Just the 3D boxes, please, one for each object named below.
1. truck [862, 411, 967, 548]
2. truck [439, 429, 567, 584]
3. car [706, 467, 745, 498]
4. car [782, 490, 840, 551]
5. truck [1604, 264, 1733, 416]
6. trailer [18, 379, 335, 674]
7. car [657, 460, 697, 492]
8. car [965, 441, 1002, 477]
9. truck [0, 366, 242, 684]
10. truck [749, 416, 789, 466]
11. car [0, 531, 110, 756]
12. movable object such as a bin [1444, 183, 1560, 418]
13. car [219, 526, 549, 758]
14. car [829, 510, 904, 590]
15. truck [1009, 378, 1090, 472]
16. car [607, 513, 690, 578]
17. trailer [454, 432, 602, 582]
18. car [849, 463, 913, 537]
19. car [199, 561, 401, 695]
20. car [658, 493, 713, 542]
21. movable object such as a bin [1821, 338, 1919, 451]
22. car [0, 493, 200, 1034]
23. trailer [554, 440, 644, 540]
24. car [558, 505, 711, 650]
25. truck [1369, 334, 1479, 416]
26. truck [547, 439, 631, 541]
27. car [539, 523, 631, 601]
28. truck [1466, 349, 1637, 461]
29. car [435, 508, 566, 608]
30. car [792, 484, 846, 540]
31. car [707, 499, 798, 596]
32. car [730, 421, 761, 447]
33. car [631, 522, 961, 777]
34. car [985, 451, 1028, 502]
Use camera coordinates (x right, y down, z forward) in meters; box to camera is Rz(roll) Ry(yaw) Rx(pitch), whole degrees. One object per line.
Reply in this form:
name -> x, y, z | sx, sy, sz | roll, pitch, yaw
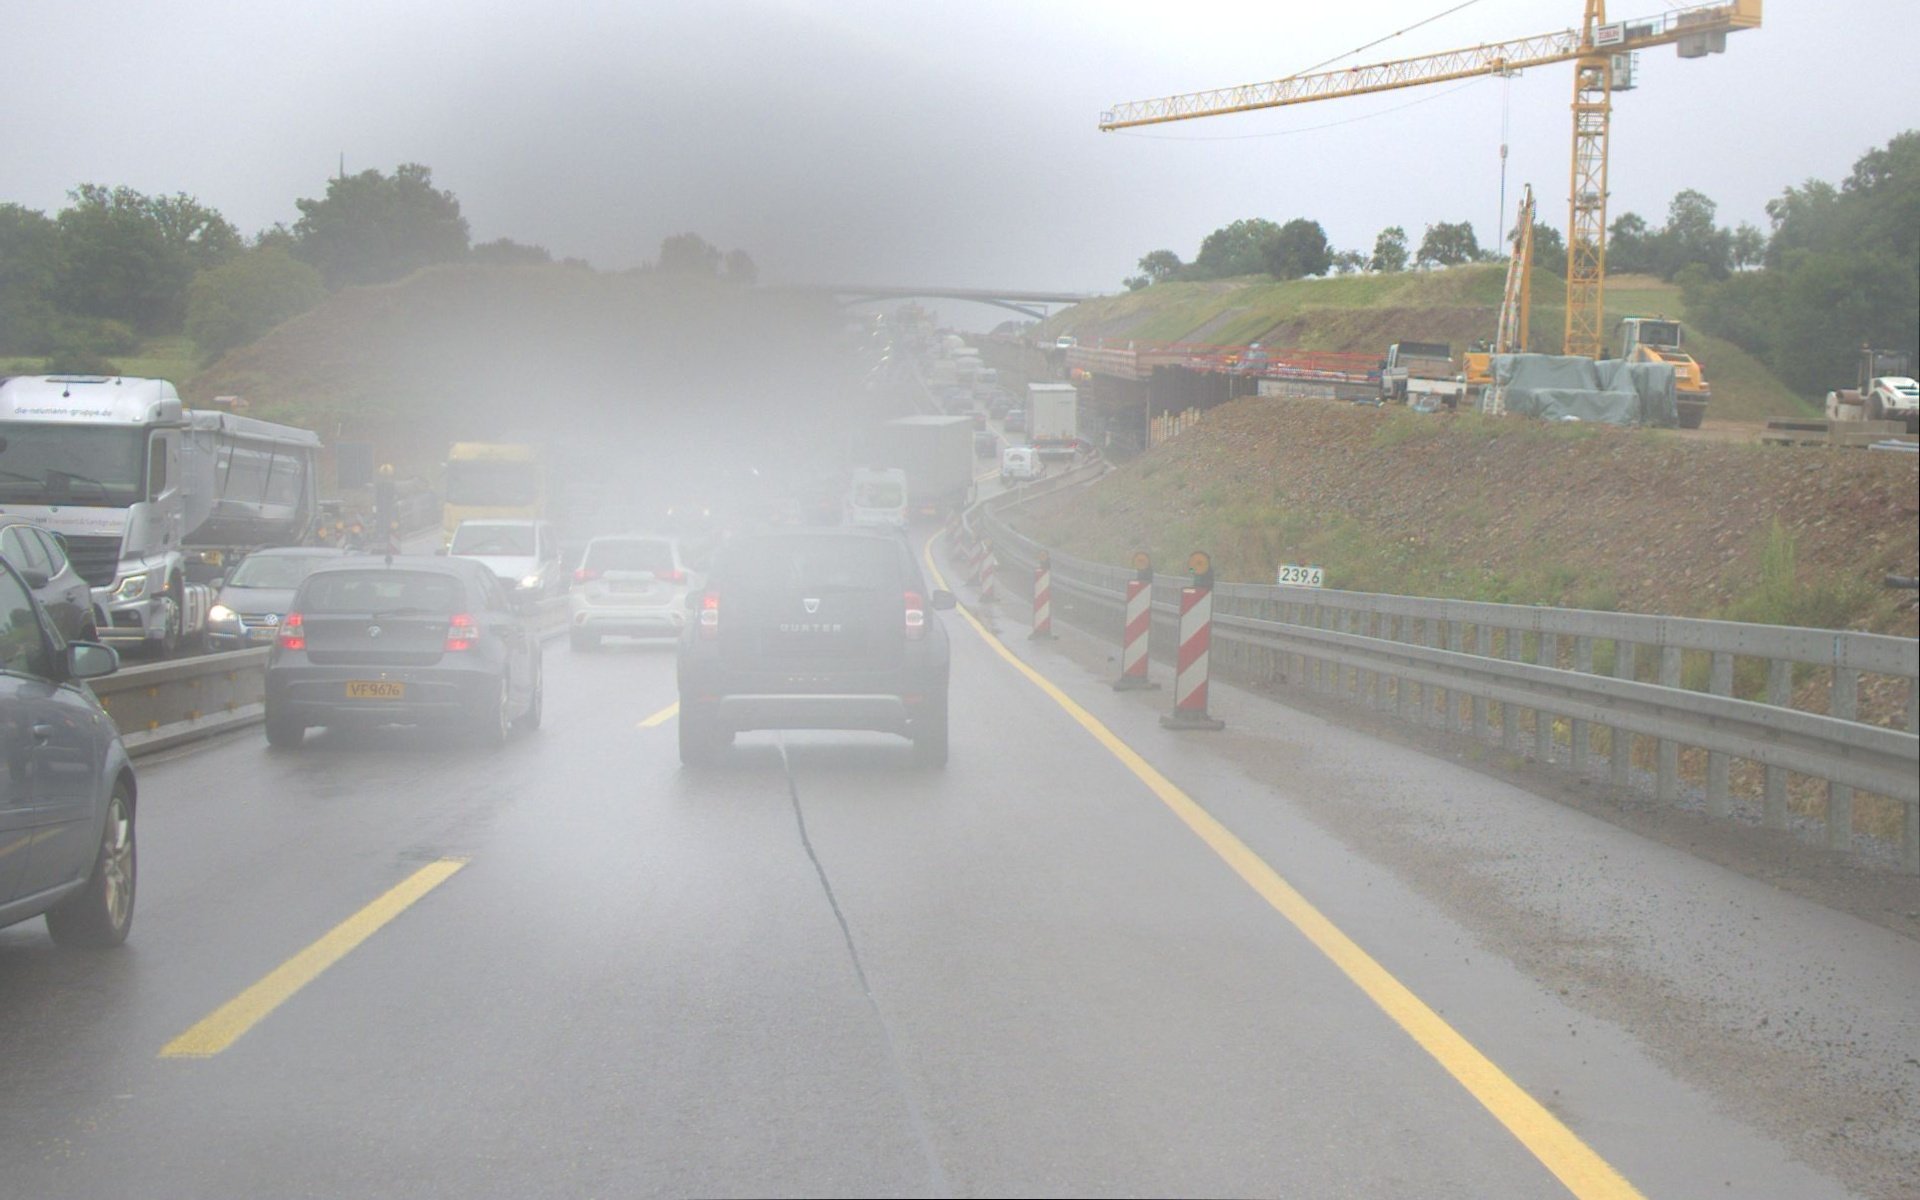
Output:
truck -> -1.809, -4.891, 141.835 | 3.102, 5.407, 9.441 | 1, 1, 6
truck -> -12.348, -2.518, 93.322 | 2.749, 4.048, 6.148 | 1, 1, -1
car -> -11.609, -5.802, 170.509 | 1.772, 1.499, 4.680 | 0, 2, -2
car -> -5.389, -2.883, 124.910 | 1.993, 2.155, 4.141 | 1, 1, -1
truck -> 21.250, -7.755, 103.369 | 2.373, 4.203, 5.980 | 1, 1, -2
trailer -> -11.446, -1.088, 51.223 | 2.685, 3.950, 9.820 | 0, 1, -2
car -> -14.179, -6.204, 172.200 | 1.787, 1.541, 4.001 | 1, 2, -2
car -> 1.335, -8.171, 198.982 | 1.993, 2.006, 4.001 | 0, 3, -2
truck -> -11.273, -0.972, 45.094 | 2.685, 3.913, 5.274 | 0, 1, -2
truck -> -10.586, -8.808, 190.876 | 2.078, 2.567, 5.963 | 1, 1, -2
car -> -8.084, 0.305, 26.572 | 1.993, 1.649, 4.470 | -1, 1, -1
movable object such as a bin -> 26.710, -14.543, 168.929 | 4.721, 10.804, 10.298 | 1, 1, 13
car -> -4.284, 0.253, 26.165 | 1.993, 1.595, 4.141 | 1, 1, -3
car -> -2.596, -1.411, 96.197 | 1.993, 2.155, 4.141 | 1, 1, -1
truck -> 5.124, -10.099, 199.978 | 3.803, 5.025, 12.923 | 1, 1, -2
car -> -8.754, -1.556, 96.823 | 1.993, 1.753, 4.688 | 1, 1, -1
trailer -> -12.514, -2.668, 100.920 | 2.749, 4.028, 15.361 | 1, 1, -1
car -> -2.709, -3.425, 118.853 | 1.993, 2.475, 4.982 | 1, 1, 1
car -> -7.745, 0.294, 40.671 | 1.709, 1.448, 4.000 | 1, 1, -2
car -> -10.395, -3.117, 130.361 | 1.865, 1.794, 4.163 | 1, 1, -2
movable object such as a bin -> 32.024, -7.054, 118.876 | 2.340, 3.587, 6.562 | 1, 1, -5
car -> -3.828, 0.455, 10.810 | 1.993, 1.595, 4.141 | 1, 1, -1
trailer -> -13.957, -4.207, 133.536 | 2.620, 3.665, 12.005 | 1, 1, -2
car -> -4.720, -0.358, 50.292 | 1.993, 2.007, 3.894 | 1, 1, -2
truck -> 16.328, -7.907, 121.403 | 2.645, 2.546, 6.985 | 1, 1, -2
truck -> -13.757, -4.069, 127.842 | 2.620, 3.665, 6.596 | 1, 1, -2
car -> -9.035, -0.941, 83.172 | 1.787, 1.799, 5.190 | 0, 1, -1
truck -> 17.055, -5.580, 99.806 | 3.395, 2.865, 8.960 | 1, 1, 0
car -> -8.549, -0.799, 64.378 | 1.874, 1.786, 5.360 | 0, 1, -2
car -> -5.576, -3.459, 136.046 | 1.993, 2.155, 4.141 | 1, 1, -1
car -> -4.827, -1.235, 79.582 | 1.993, 2.155, 4.141 | 1, 1, -5
car -> -13.199, -10.215, 211.705 | 1.786, 1.533, 4.312 | 0, 2, -2
car -> -1.073, 0.276, 24.001 | 2.081, 1.595, 4.141 | 1, 1, -1
car -> 2.337, -6.212, 173.975 | 1.993, 2.475, 4.741 | 1, 1, 0
